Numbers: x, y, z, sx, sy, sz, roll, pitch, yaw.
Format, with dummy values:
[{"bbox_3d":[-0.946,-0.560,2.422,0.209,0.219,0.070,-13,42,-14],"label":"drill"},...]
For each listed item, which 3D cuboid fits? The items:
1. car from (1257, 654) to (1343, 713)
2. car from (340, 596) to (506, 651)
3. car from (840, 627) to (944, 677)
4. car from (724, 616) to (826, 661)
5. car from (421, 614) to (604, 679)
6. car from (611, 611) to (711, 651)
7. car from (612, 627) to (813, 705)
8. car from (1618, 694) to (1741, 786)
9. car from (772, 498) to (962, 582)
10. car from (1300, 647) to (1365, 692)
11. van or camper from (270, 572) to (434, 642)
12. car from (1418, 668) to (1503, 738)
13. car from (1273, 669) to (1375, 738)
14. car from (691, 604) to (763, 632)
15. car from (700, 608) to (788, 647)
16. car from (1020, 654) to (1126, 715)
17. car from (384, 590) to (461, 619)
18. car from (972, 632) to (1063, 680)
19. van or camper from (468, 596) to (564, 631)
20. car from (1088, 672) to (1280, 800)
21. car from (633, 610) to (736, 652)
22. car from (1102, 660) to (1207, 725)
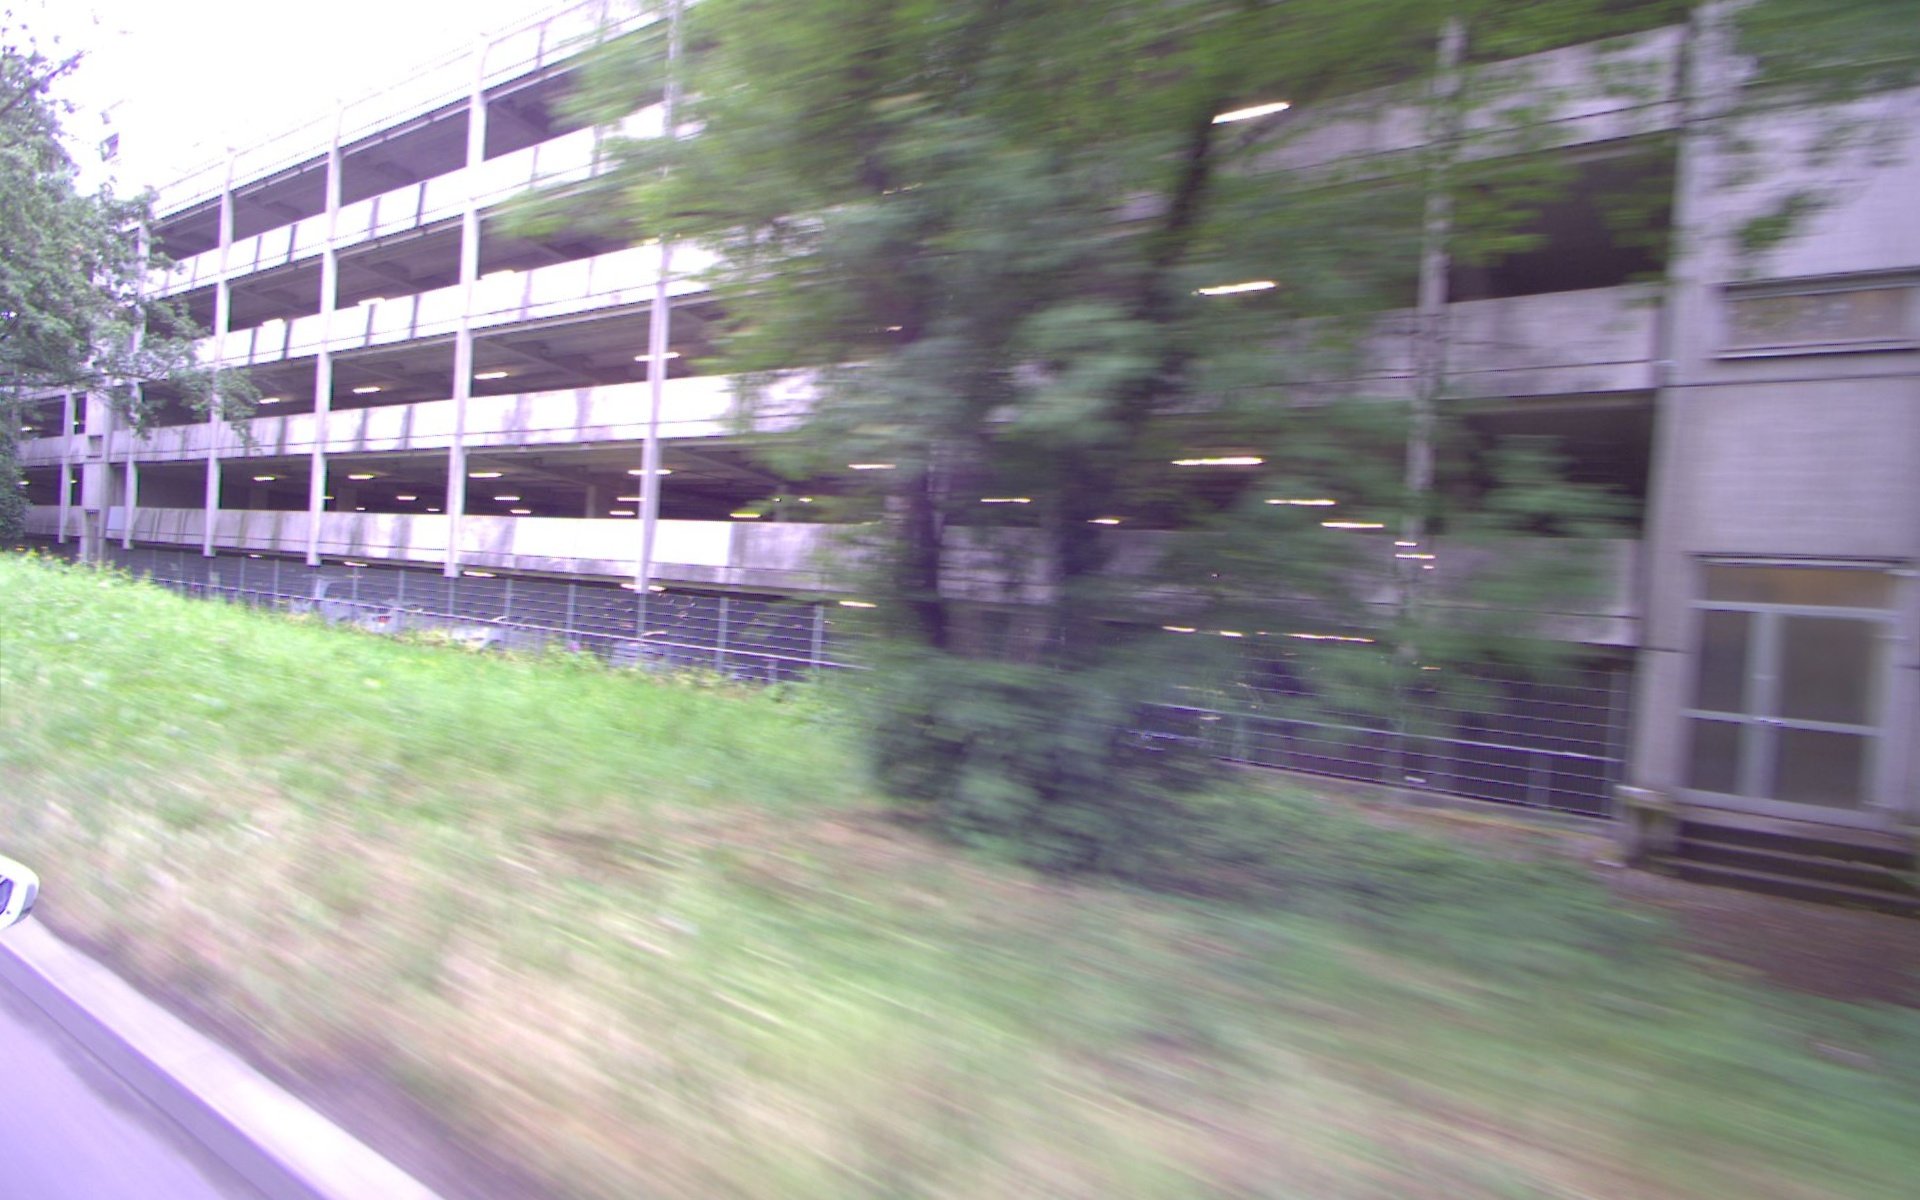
[{"bbox_3d":[10.839,2.586,31.928,1.759,1.564,3.693,4,0,31],"label":"car"},{"bbox_3d":[-16.192,0.732,30.516,1.918,1.454,4.007,4,0,31],"label":"car"},{"bbox_3d":[-2.239,1.736,34.084,1.646,1.460,3.664,5,1,31],"label":"car"},{"bbox_3d":[-6.771,1.400,37.120,1.646,1.460,3.663,5,1,32],"label":"car"},{"bbox_3d":[-12.267,1.259,27.820,1.918,1.526,4.256,4,0,31],"label":"car"},{"bbox_3d":[-12.194,1.282,41.218,1.647,1.460,3.660,5,1,35],"label":"car"},{"bbox_3d":[-5.828,1.519,24.237,1.916,1.526,4.590,5,1,33],"label":"car"},{"bbox_3d":[15.649,2.971,22.069,1.796,1.470,4.061,5,0,32],"label":"car"},{"bbox_3d":[-1.862,-1.222,21.154,1.805,1.361,3.828,5,1,37],"label":"car"},{"bbox_3d":[15.286,2.823,41.189,1.669,1.590,3.516,5,0,32],"label":"car"},{"bbox_3d":[-19.178,0.258,31.900,1.810,1.979,4.006,4,0,31],"label":"van or camper"},{"bbox_3d":[13.988,2.791,28.012,1.759,1.564,3.693,4,0,31],"label":"car"},{"bbox_3d":[9.277,2.550,25.498,1.646,1.368,3.663,5,1,32],"label":"car"},{"bbox_3d":[-14.208,1.112,61.568,1.869,1.388,3.987,6,0,35],"label":"car"},{"bbox_3d":[-9.691,1.247,45.337,1.696,1.440,3.694,4,-2,34],"label":"car"},{"bbox_3d":[3.426,2.452,29.994,1.646,1.498,3.663,5,1,32],"label":"car"},{"bbox_3d":[-28.015,0.237,52.477,1.545,1.324,3.199,4,0,37],"label":"car"},{"bbox_3d":[2.166,2.020,36.905,1.759,1.564,3.693,4,0,31],"label":"car"},{"bbox_3d":[-20.645,0.666,46.845,1.700,1.427,3.712,4,0,34],"label":"van or camper"},{"bbox_3d":[3.842,2.116,16.717,1.833,1.552,3.988,5,1,31],"label":"car"},{"bbox_3d":[-10.644,1.211,39.087,1.646,1.460,3.664,4,0,31],"label":"car"},{"bbox_3d":[5.556,2.545,28.462,1.646,1.502,3.663,5,1,32],"label":"car"}]
